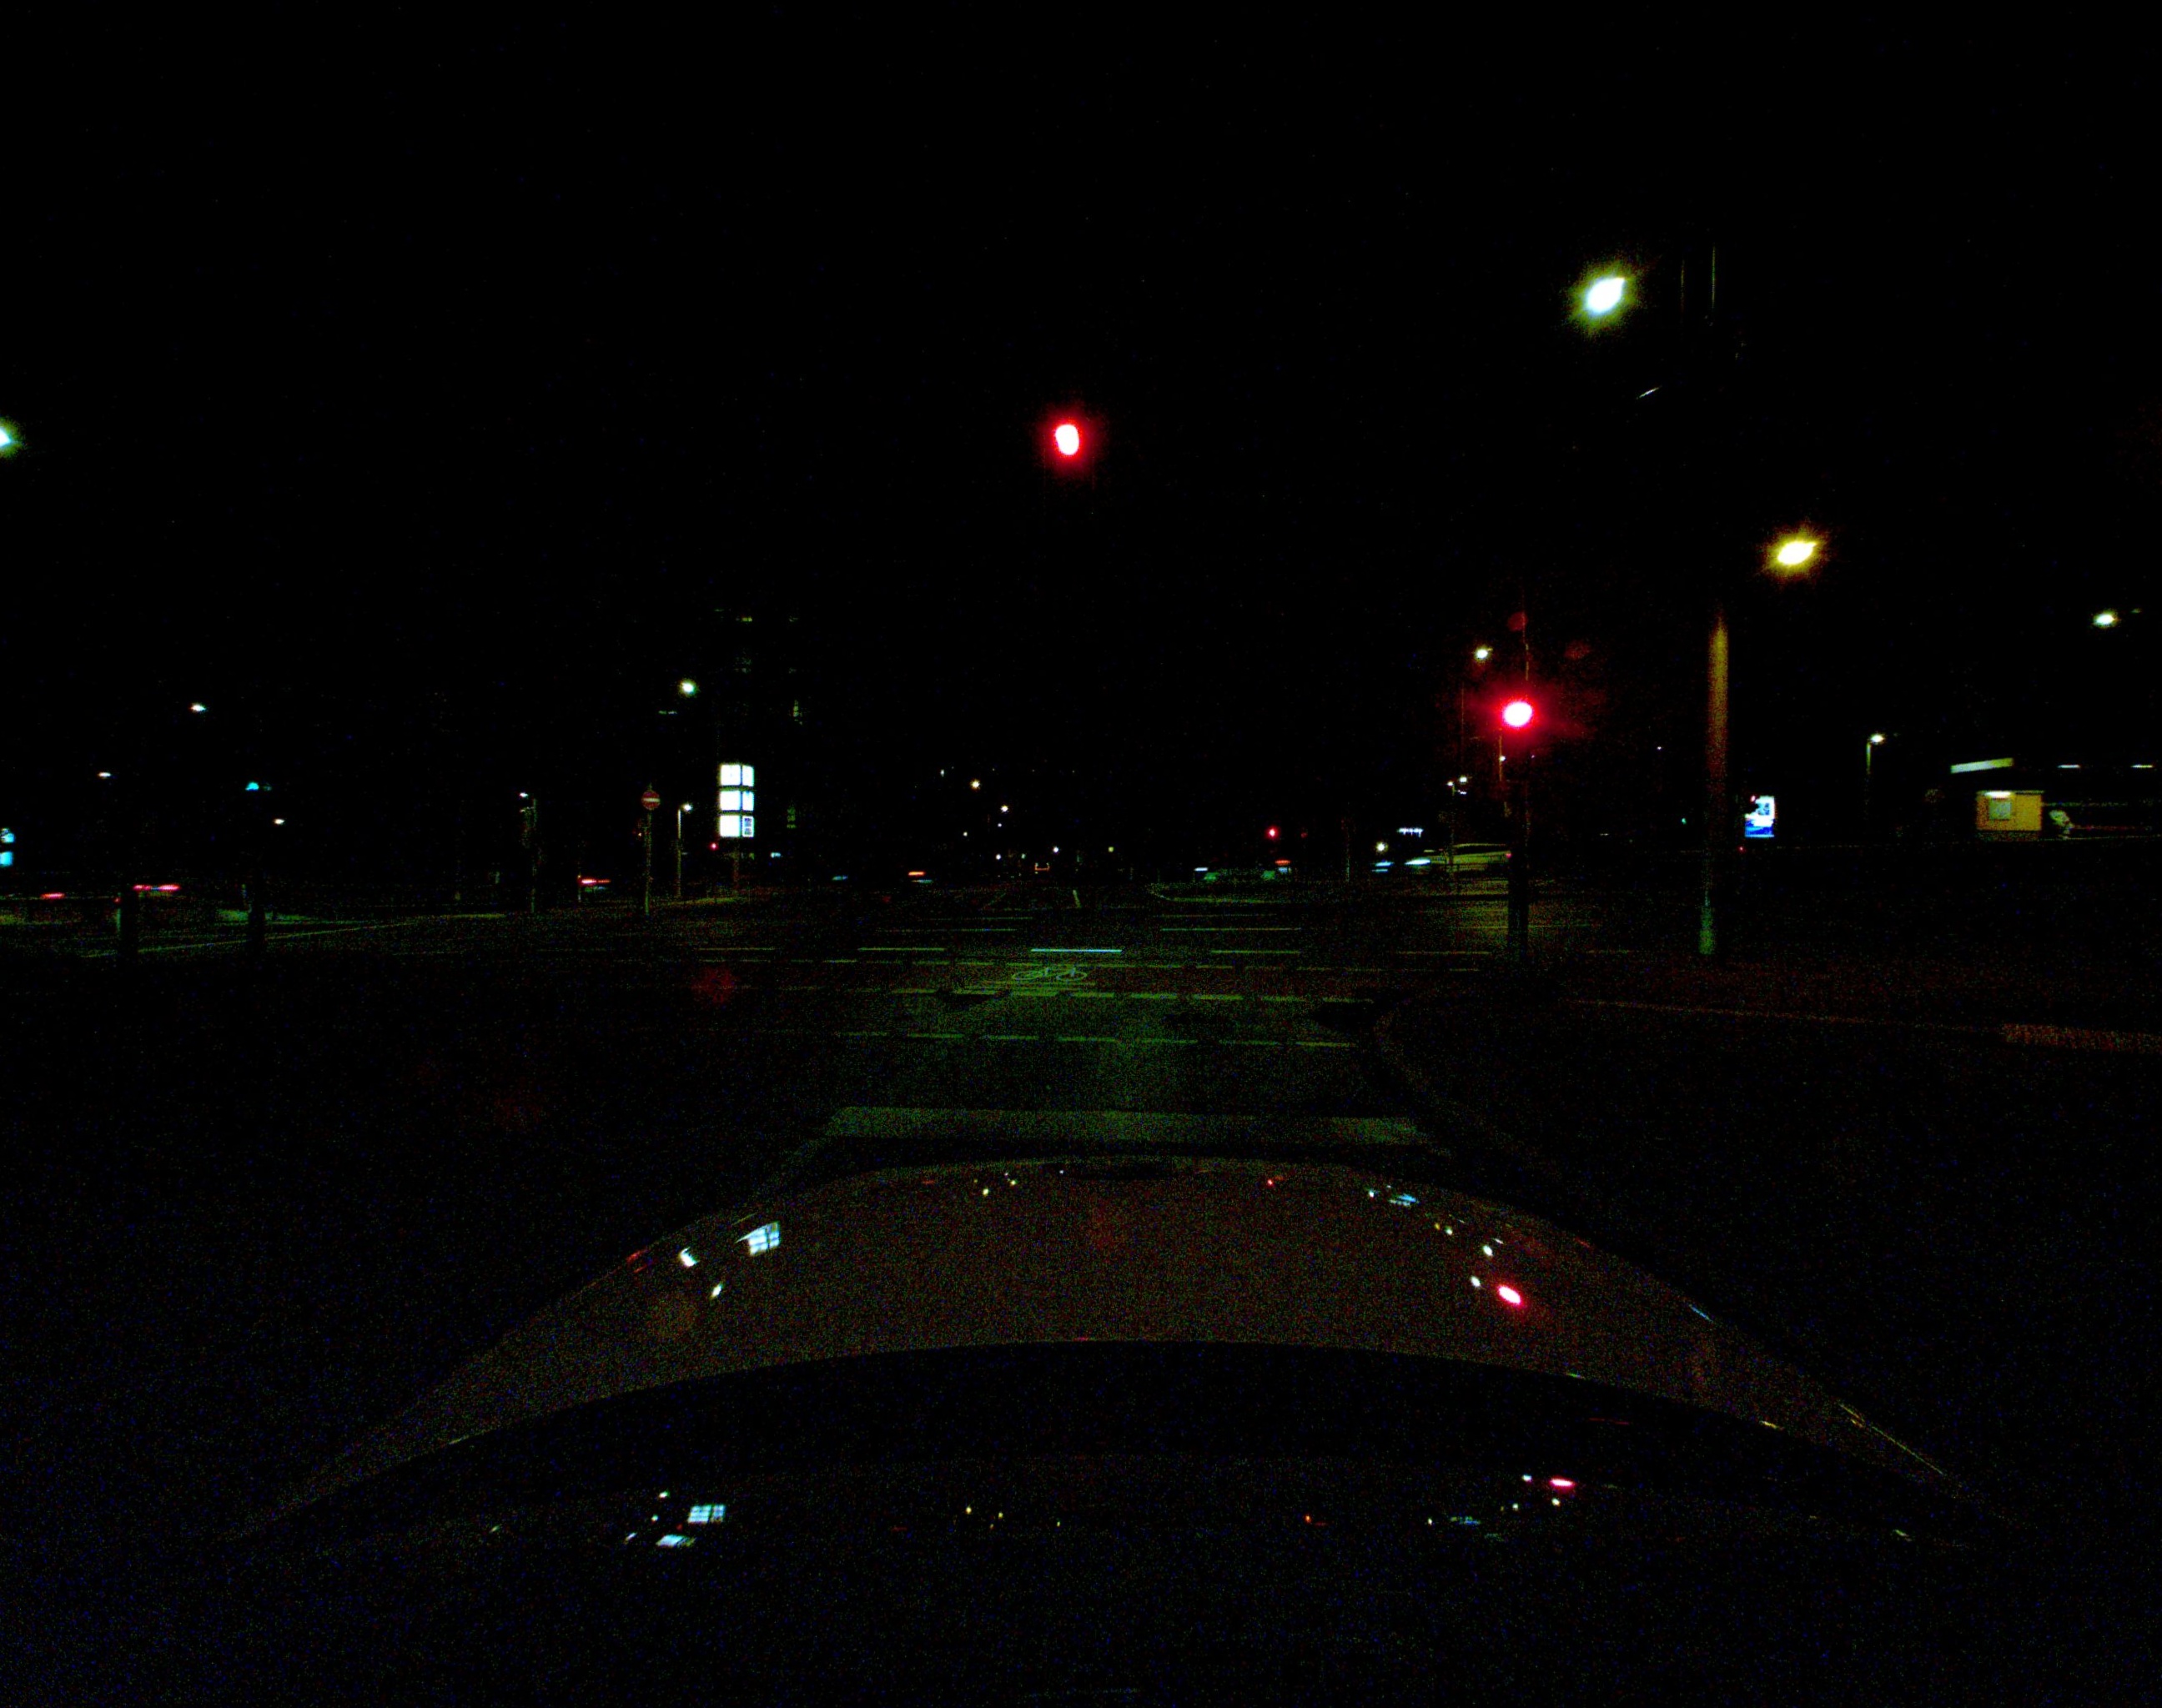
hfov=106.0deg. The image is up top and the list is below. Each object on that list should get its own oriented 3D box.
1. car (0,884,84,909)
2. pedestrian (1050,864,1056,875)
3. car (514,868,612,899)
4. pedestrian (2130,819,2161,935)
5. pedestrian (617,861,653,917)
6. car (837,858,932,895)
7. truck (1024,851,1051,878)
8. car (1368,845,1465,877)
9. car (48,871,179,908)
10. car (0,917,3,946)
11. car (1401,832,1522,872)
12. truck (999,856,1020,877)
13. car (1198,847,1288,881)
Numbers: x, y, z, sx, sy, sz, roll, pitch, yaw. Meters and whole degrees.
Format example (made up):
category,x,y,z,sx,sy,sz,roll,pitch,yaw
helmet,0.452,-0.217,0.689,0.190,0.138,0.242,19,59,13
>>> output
category,x,y,z,sx,sy,sz,roll,pitch,yaw
car,-63.904,2.609,49.599,4.306,1.388,1.845,-2,-1,5
pedestrian,-5.105,2.830,147.834,0.851,1.912,1.001,0,-1,-16
car,-27.427,1.532,43.193,4.041,1.424,1.846,-1,1,5
pedestrian,15.870,0.292,11.590,0.870,1.656,0.843,-7,-5,42
pedestrian,-13.996,1.099,25.574,0.670,1.722,0.710,-1,-2,28
car,-9.220,1.036,38.469,3.972,1.585,1.804,-2,0,1
truck,-7.990,1.941,149.251,3.366,4.843,7.865,0,-1,-14
car,17.279,0.384,42.091,4.215,1.585,1.889,0,-1,4
car,-49.706,1.822,41.894,4.757,1.844,1.845,0,-1,5
car,-32.720,2.011,22.198,4.549,1.419,1.748,-2,2,5
car,16.912,-0.105,36.359,4.551,1.585,1.848,-2,1,3
truck,-10.574,1.858,120.089,2.419,3.089,6.412,0,-1,-11
car,7.912,0.502,40.063,4.212,1.585,1.806,0,-1,6
